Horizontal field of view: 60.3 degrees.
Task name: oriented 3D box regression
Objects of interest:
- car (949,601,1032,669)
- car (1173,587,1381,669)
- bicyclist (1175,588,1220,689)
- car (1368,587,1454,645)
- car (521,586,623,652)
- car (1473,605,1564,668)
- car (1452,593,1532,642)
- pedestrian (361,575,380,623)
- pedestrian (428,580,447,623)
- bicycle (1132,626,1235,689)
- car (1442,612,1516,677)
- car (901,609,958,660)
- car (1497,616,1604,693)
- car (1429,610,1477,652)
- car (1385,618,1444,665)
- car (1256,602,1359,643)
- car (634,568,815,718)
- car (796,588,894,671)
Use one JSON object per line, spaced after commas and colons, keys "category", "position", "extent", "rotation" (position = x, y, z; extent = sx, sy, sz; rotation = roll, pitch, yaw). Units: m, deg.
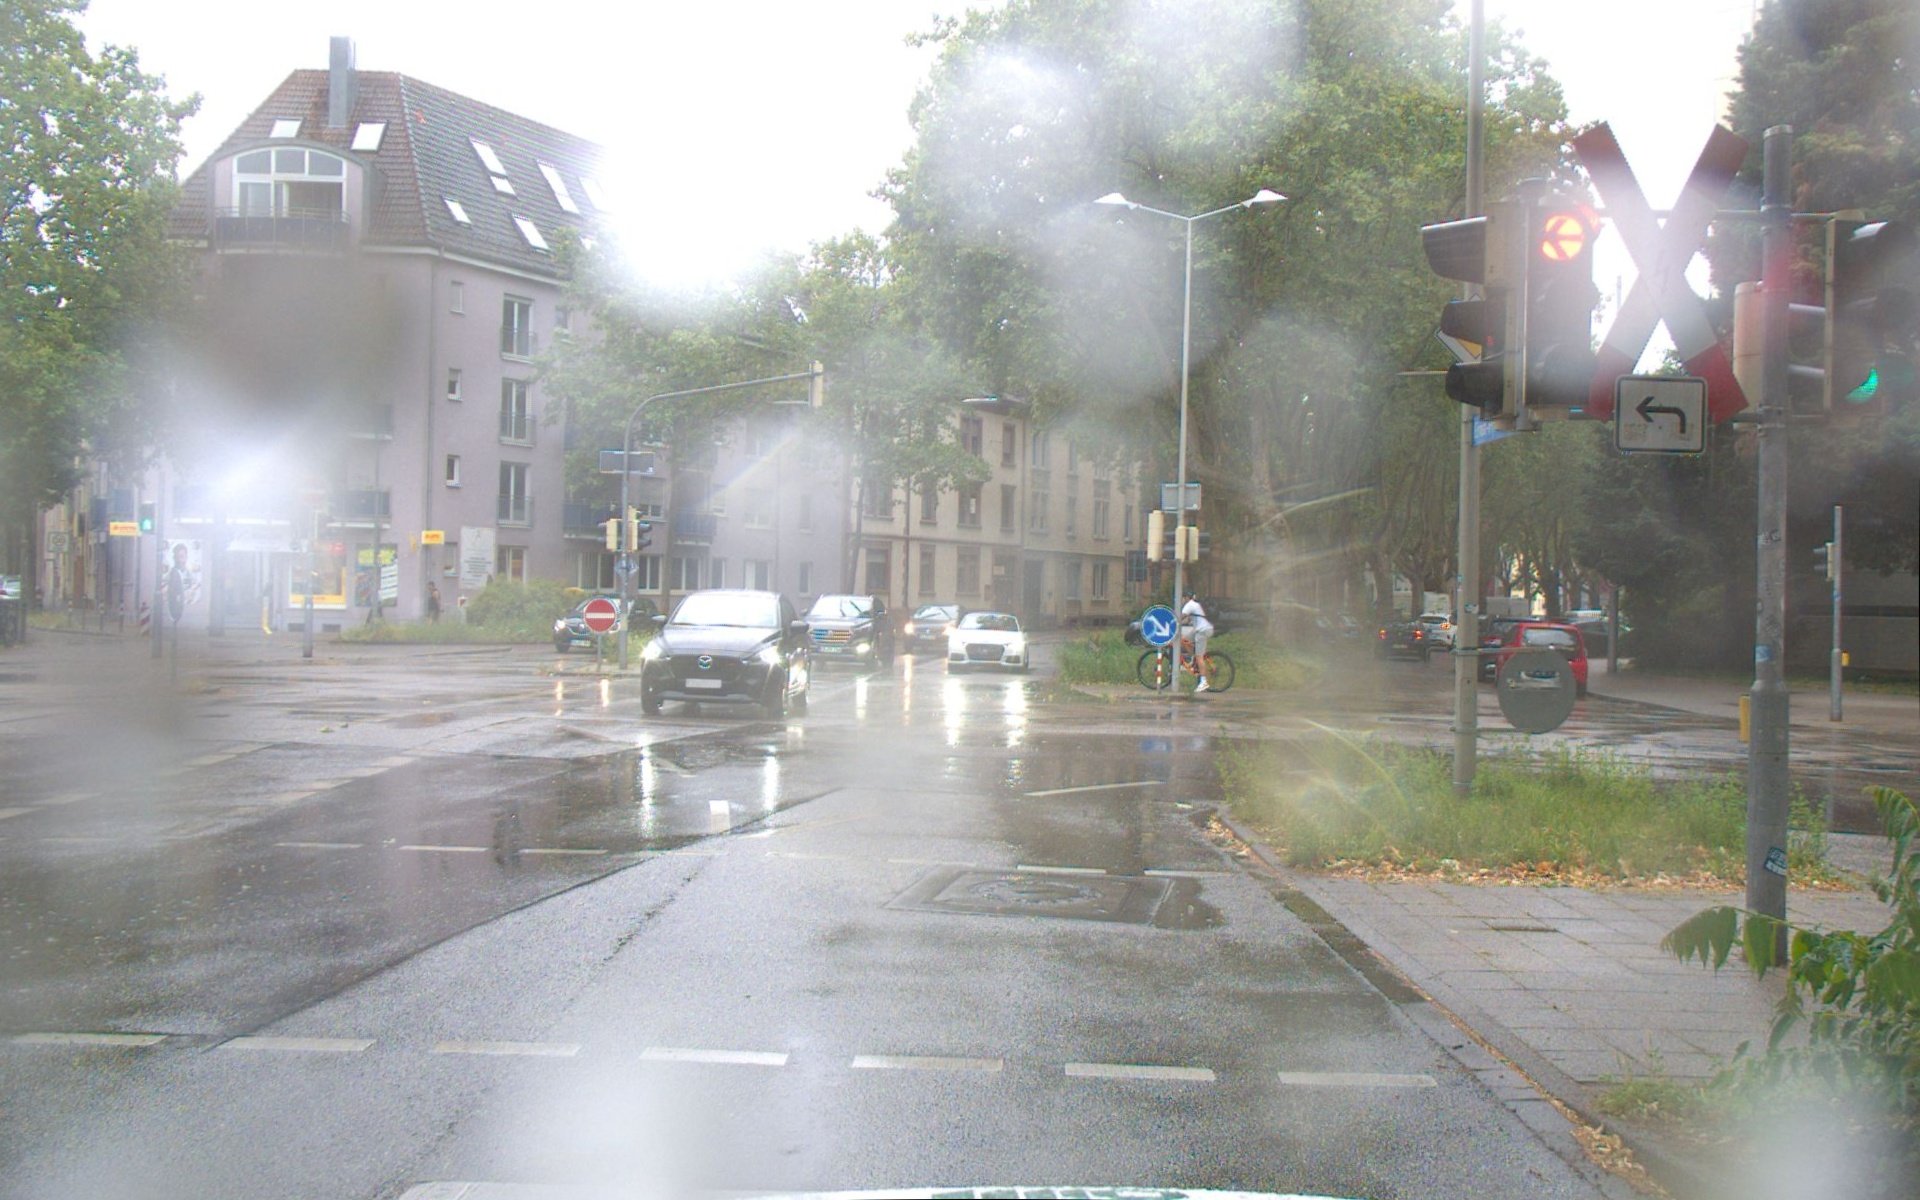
{"category": "car", "position": [0.729, 0.794, 39.314], "extent": [1.845, 1.461, 4.001], "rotation": [1, 0, 1]}
{"category": "car", "position": [6.283, 0.534, 32.797], "extent": [3.902, 1.512, 2.002], "rotation": [1, 0, 12]}
{"category": "bicyclist", "position": [4.359, 0.694, 30.424], "extent": [0.778, 1.817, 0.697], "rotation": [1, -1, 7]}
{"category": "car", "position": [23.951, 0.840, 88.074], "extent": [2.005, 2.999, 4.742], "rotation": [1, 0, -21]}
{"category": "car", "position": [-9.629, 0.445, 41.349], "extent": [1.716, 1.538, 3.838], "rotation": [1, 0, -2]}
{"category": "car", "position": [13.894, 0.874, 41.311], "extent": [1.745, 1.371, 3.932], "rotation": [1, 1, 13]}
{"category": "car", "position": [33.666, 1.075, 104.818], "extent": [1.974, 2.999, 4.720], "rotation": [1, 0, -31]}
{"category": "pedestrian", "position": [-18.572, -0.035, 52.130], "extent": [0.436, 1.483, 0.560], "rotation": [1, -1, -10]}
{"category": "pedestrian", "position": [-16.598, 0.060, 52.491], "extent": [0.439, 1.353, 0.556], "rotation": [1, -1, -31]}
{"category": "bicycle", "position": [4.110, 1.049, 30.450], "extent": [1.833, 1.100, 0.657], "rotation": [1, 0, 7]}
{"category": "car", "position": [14.986, 1.250, 47.914], "extent": [1.745, 1.757, 4.003], "rotation": [1, 0, 13]}
{"category": "car", "position": [-0.967, 1.045, 51.721], "extent": [1.679, 1.485, 3.747], "rotation": [1, 0, -1]}
{"category": "car", "position": [13.048, 1.160, 36.741], "extent": [1.754, 1.524, 4.003], "rotation": [1, 0, 13]}
{"category": "car", "position": [20.920, 1.285, 70.089], "extent": [1.738, 1.707, 4.001], "rotation": [1, 0, 20]}
{"category": "car", "position": [15.338, 1.380, 55.733], "extent": [1.646, 1.500, 3.663], "rotation": [1, 0, 20]}
{"category": "car", "position": [13.784, 0.880, 65.638], "extent": [3.902, 1.512, 2.002], "rotation": [1, 0, 12]}
{"category": "car", "position": [-2.785, 0.464, 20.379], "extent": [1.716, 1.619, 4.233], "rotation": [1, 0, -2]}
{"category": "car", "position": [-2.542, 0.617, 37.478], "extent": [1.766, 1.712, 4.604], "rotation": [1, 0, 1]}
